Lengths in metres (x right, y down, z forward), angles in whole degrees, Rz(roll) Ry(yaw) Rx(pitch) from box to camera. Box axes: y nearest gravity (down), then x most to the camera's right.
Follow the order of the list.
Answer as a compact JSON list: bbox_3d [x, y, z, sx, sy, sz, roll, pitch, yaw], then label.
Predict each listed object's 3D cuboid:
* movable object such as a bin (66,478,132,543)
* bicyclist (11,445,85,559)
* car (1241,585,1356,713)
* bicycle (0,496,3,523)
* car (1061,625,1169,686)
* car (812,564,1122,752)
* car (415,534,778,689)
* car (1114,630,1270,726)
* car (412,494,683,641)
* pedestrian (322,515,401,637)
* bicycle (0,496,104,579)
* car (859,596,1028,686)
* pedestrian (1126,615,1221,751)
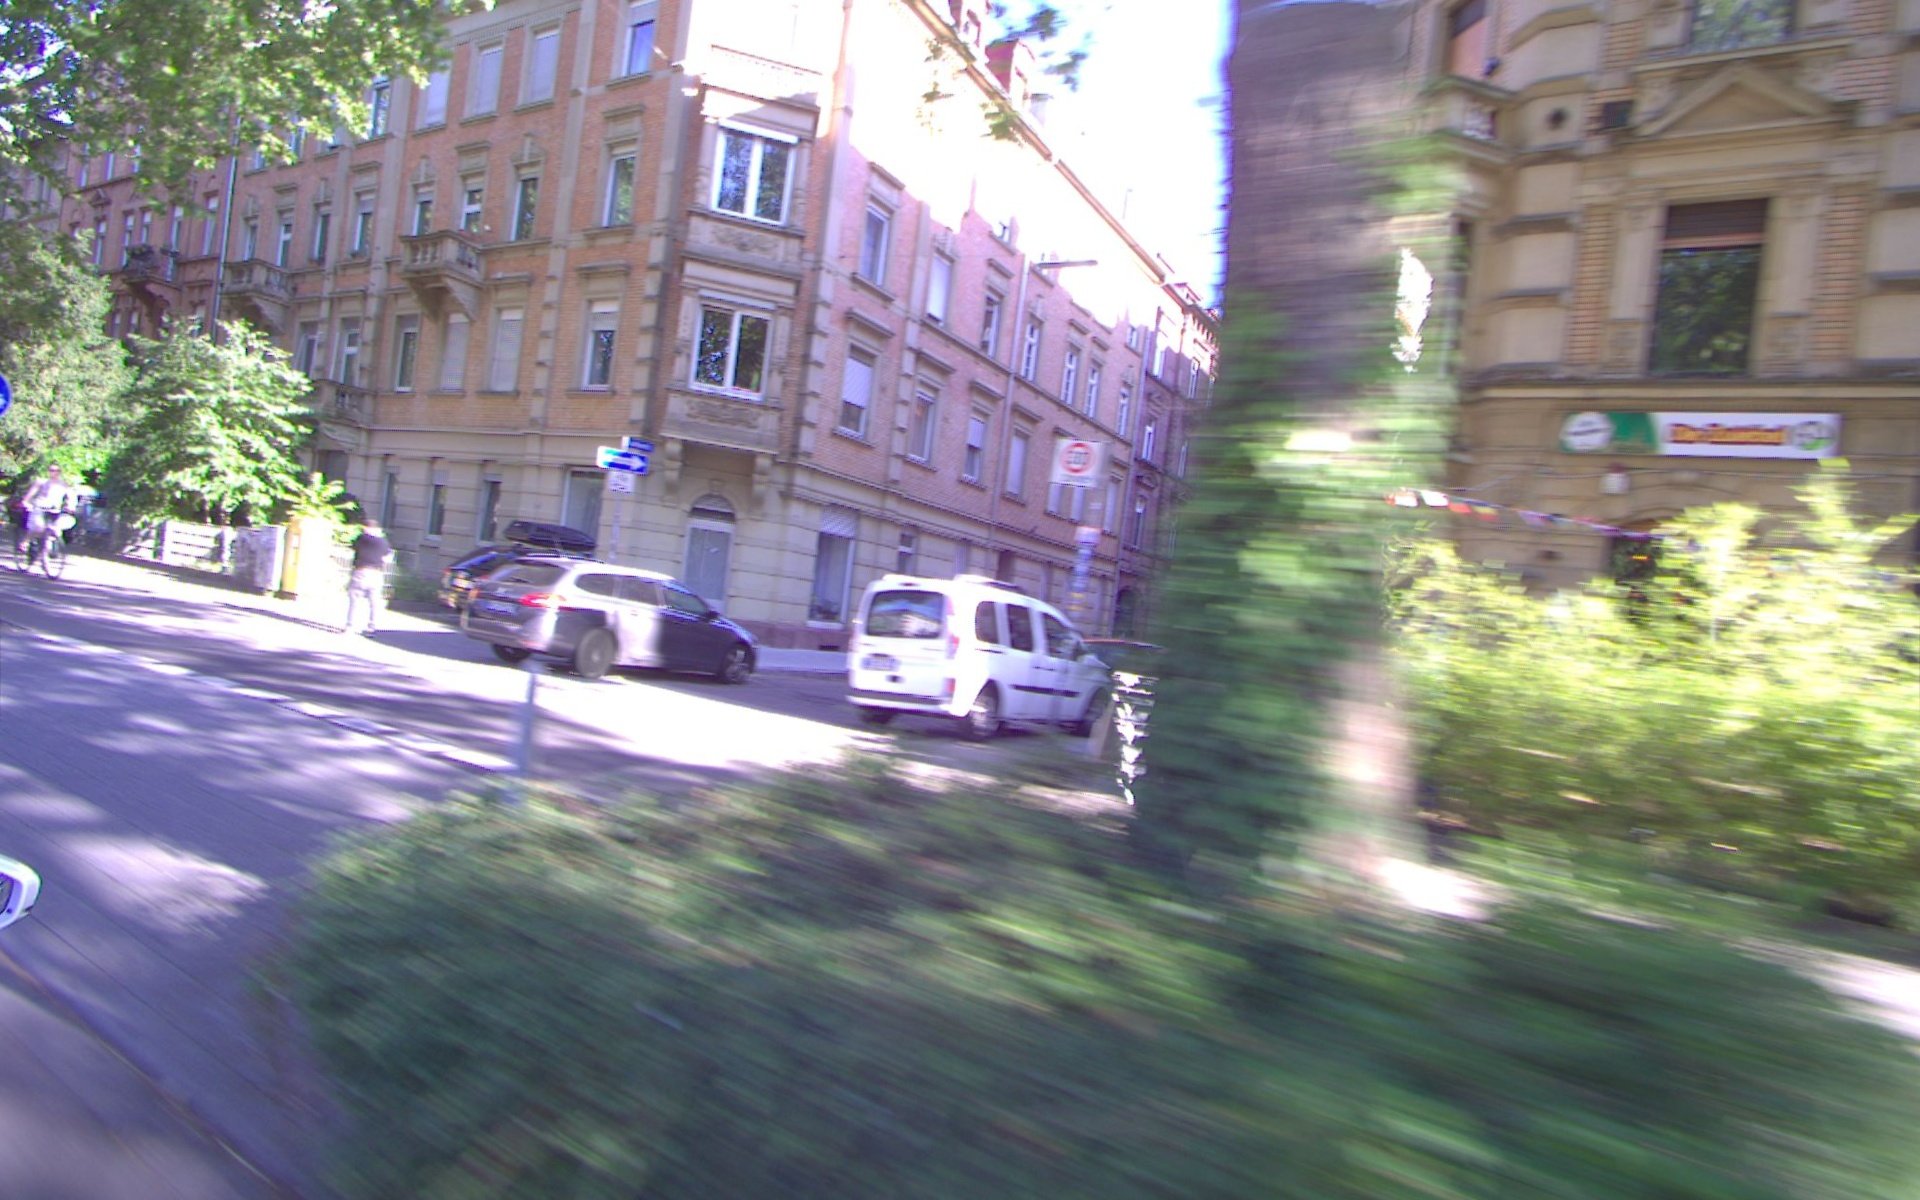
[{"bbox_3d":[-21.902,-2.265,25.604,1.065,1.484,0.907,8,3,30],"label":"movable object such as a bin"},{"bbox_3d":[-14.127,-1.503,15.583,0.632,1.646,0.544,8,2,25],"label":"bicyclist"},{"bbox_3d":[9.953,1.510,29.330,1.875,3.240,4.883,7,-1,31],"label":"car"},{"bbox_3d":[-14.162,-0.996,13.991,2.188,1.193,0.561,10,2,30],"label":"bicycle"},{"bbox_3d":[4.736,1.710,30.244,1.724,1.499,4.052,7,-1,30],"label":"car"},{"bbox_3d":[0.321,0.799,13.272,1.875,1.868,4.556,7,-1,31],"label":"car"},{"bbox_3d":[-4.827,0.275,14.133,1.875,1.556,4.560,7,-2,29],"label":"car"},{"bbox_3d":[4.966,1.646,21.121,1.875,1.580,4.177,7,-1,31],"label":"car"},{"bbox_3d":[-7.326,-0.485,18.271,1.965,2.039,3.993,11,2,29],"label":"car"},{"bbox_3d":[-8.187,-0.321,13.765,0.597,1.569,0.540,10,3,30],"label":"pedestrian"},{"bbox_3d":[-14.185,-0.983,15.620,1.898,1.051,0.561,9,3,24],"label":"bicycle"},{"bbox_3d":[-0.270,0.945,21.930,1.725,1.562,3.814,7,-1,33],"label":"car"},{"bbox_3d":[2.818,1.092,13.219,0.860,1.609,0.888,8,-2,24],"label":"pedestrian"}]
